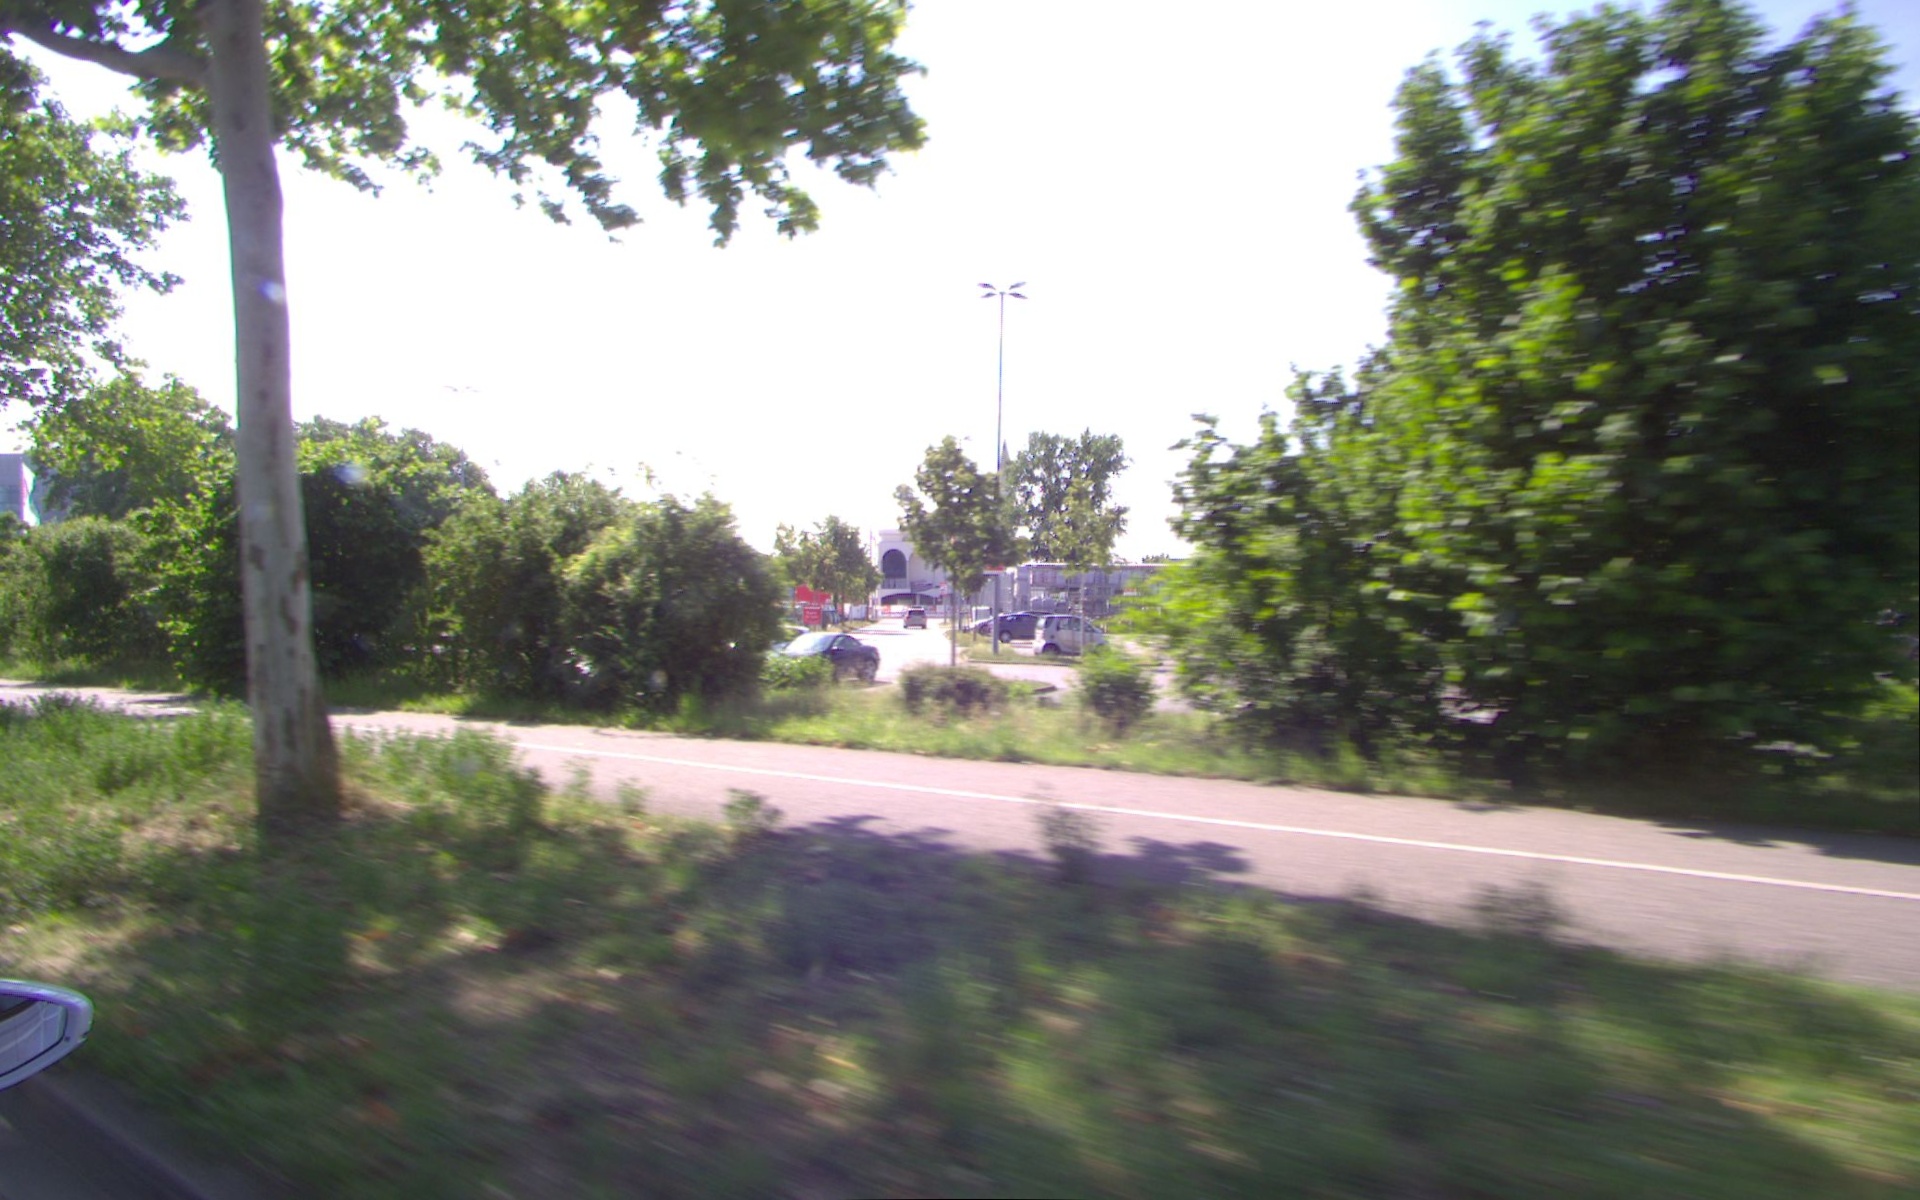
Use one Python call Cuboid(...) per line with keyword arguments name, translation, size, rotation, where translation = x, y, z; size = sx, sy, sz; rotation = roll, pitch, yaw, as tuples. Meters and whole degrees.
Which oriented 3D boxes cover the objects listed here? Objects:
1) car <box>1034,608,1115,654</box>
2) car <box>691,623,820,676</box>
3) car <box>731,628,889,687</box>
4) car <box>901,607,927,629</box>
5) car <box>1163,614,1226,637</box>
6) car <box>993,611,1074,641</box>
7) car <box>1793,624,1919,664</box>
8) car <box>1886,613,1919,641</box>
Cuboid(name="car", translation=(3.870, 1.059, 34.015), size=(2.574, 1.511, 0.943), rotation=(1, -1, -10))
Cuboid(name="car", translation=(-5.450, 1.277, 26.962), size=(1.427, 1.327, 3.313), rotation=(0, -1, 36))
Cuboid(name="car", translation=(-3.701, 1.389, 25.236), size=(1.680, 1.327, 3.927), rotation=(0, -1, 36))
Cuboid(name="car", translation=(-3.740, 1.444, 81.263), size=(1.961, 1.740, 4.000), rotation=(0, -1, -5))
Cuboid(name="car", translation=(14.155, 1.536, 60.499), size=(3.394, 1.402, 1.405), rotation=(0, -1, -7))
Cuboid(name="car", translation=(3.633, 1.306, 50.065), size=(3.922, 1.438, 1.656), rotation=(0, -2, 0))
Cuboid(name="car", translation=(32.238, 1.559, 35.639), size=(3.795, 1.382, 1.738), rotation=(0, -1, -2))
Cuboid(name="car", translation=(48.362, 1.357, 49.418), size=(3.675, 1.327, 1.671), rotation=(0, -2, 1))
